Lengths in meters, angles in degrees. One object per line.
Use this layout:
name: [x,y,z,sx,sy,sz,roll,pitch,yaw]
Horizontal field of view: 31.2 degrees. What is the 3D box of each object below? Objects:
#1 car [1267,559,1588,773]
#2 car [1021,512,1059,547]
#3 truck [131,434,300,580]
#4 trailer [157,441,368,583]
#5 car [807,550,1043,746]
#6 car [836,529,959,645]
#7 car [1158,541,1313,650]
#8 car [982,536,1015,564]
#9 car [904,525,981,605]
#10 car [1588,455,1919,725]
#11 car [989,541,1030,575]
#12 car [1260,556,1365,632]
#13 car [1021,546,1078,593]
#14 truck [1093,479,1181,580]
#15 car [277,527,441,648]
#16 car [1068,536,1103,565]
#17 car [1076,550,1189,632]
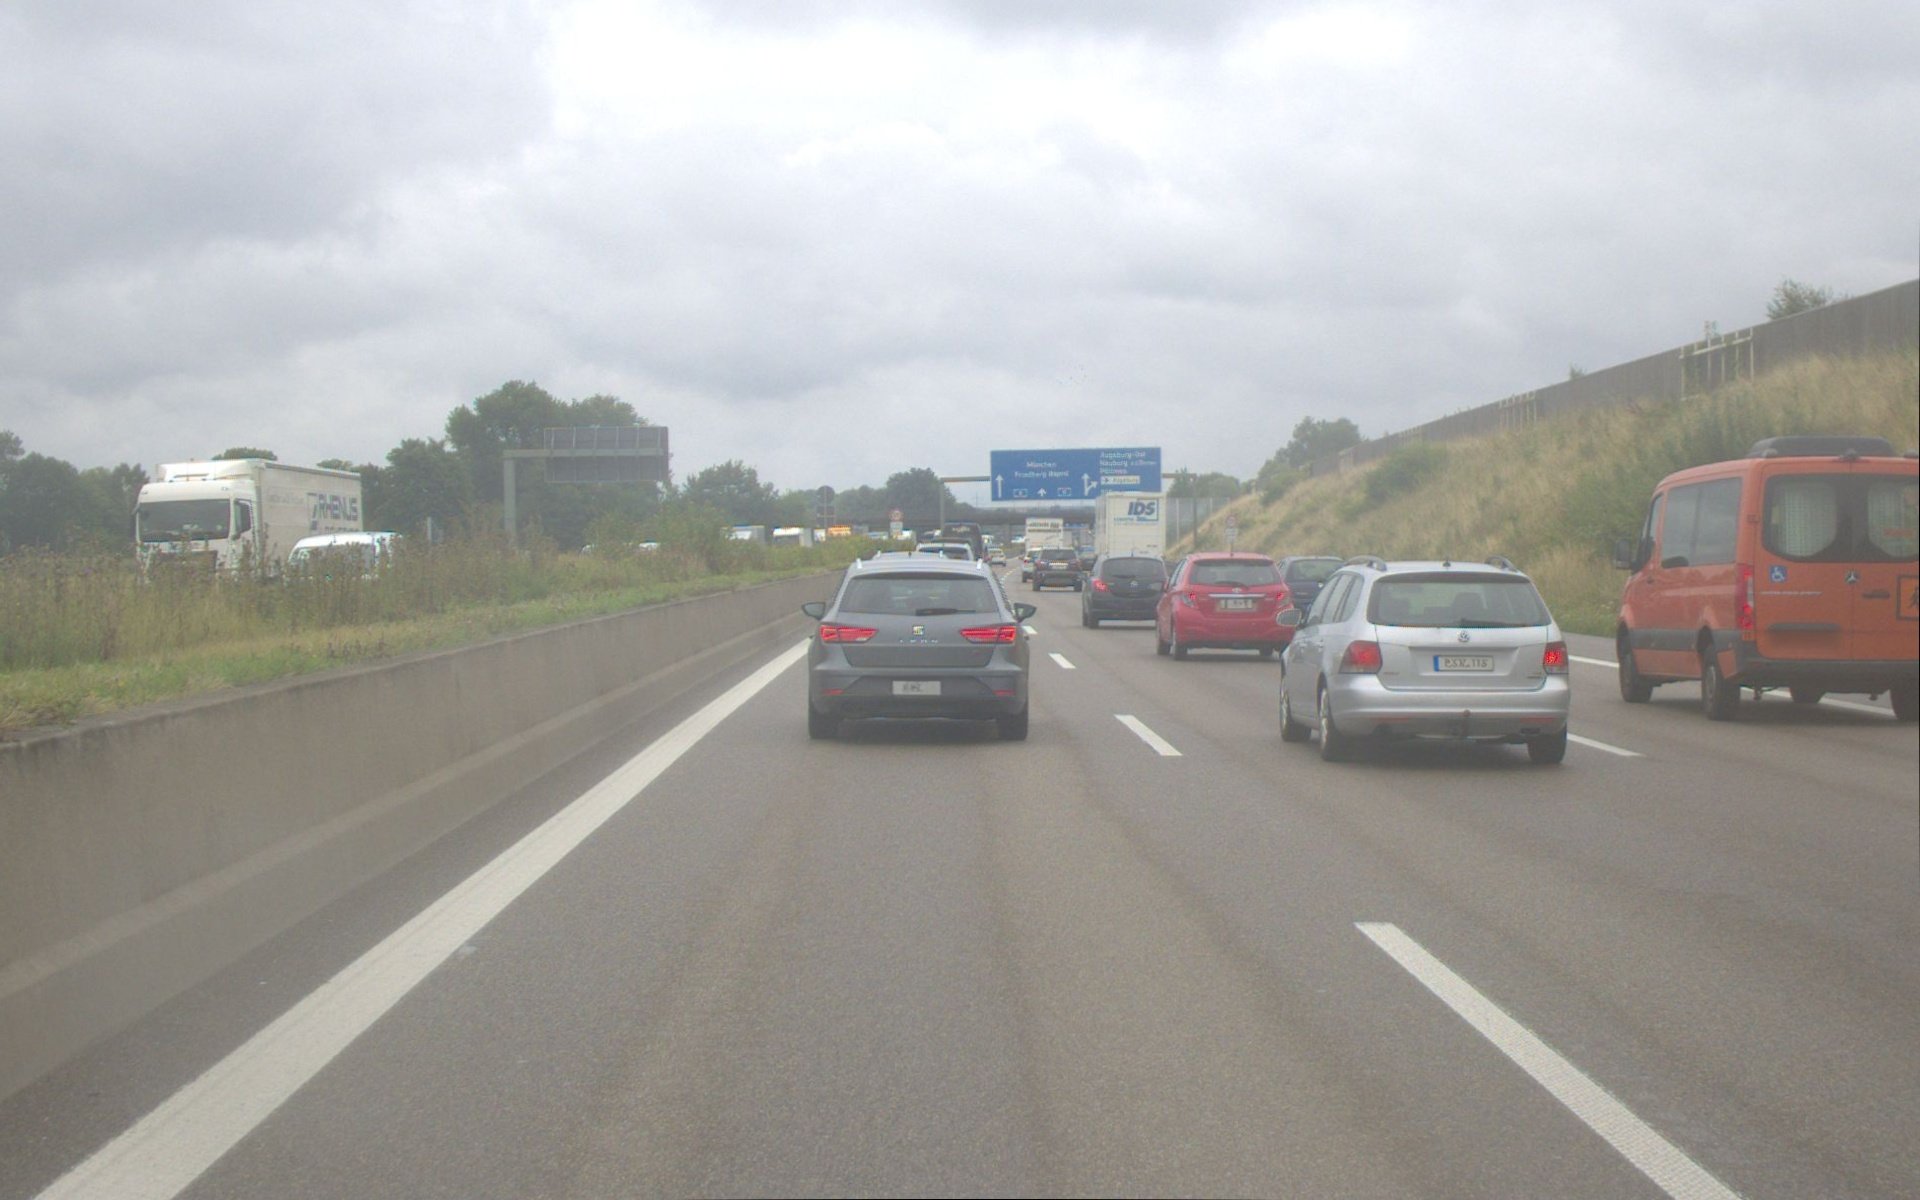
car: [3.392,0.423,25.729,1.742,1.420,4.517,-1,1,0]
car: [4.627,-4.107,200.224,1.993,2.007,4.000,-1,1,-1]
truck: [-18.109,-2.220,83.939,2.969,3.417,5.629,1,1,-1]
trailer: [-18.133,-2.219,90.342,2.914,3.417,13.242,1,1,0]
car: [-0.251,0.343,27.956,1.768,1.462,4.000,1,1,0]
car: [-0.945,-0.215,54.083,1.754,1.744,4.000,1,1,1]
car: [3.847,-0.097,48.724,1.891,1.442,4.685,0,1,1]
car: [2.428,-3.179,217.941,1.993,1.807,4.597,0,1,-1]
car: [-0.399,-0.845,81.544,1.704,1.790,3.855,-2,1,0]
car: [7.630,-0.152,32.620,2.085,2.307,6.182,0,1,-1]
car: [2.260,-1.920,156.627,1.751,1.512,4.000,-1,1,-1]
car: [6.778,-0.137,66.399,1.702,1.396,3.875,1,1,2]
car: [3.259,-1.126,125.819,1.845,1.681,4.000,1,1,-1]
truck: [7.944,-3.113,156.594,3.283,4.280,19.033,1,1,1]
car: [-10.364,-0.251,59.622,1.993,2.007,5.069,0,1,0]
car: [8.110,-3.192,222.630,1.993,1.853,4.391,-1,1,-1]
car: [3.334,-0.204,67.065,1.921,1.516,4.622,0,1,-1]
